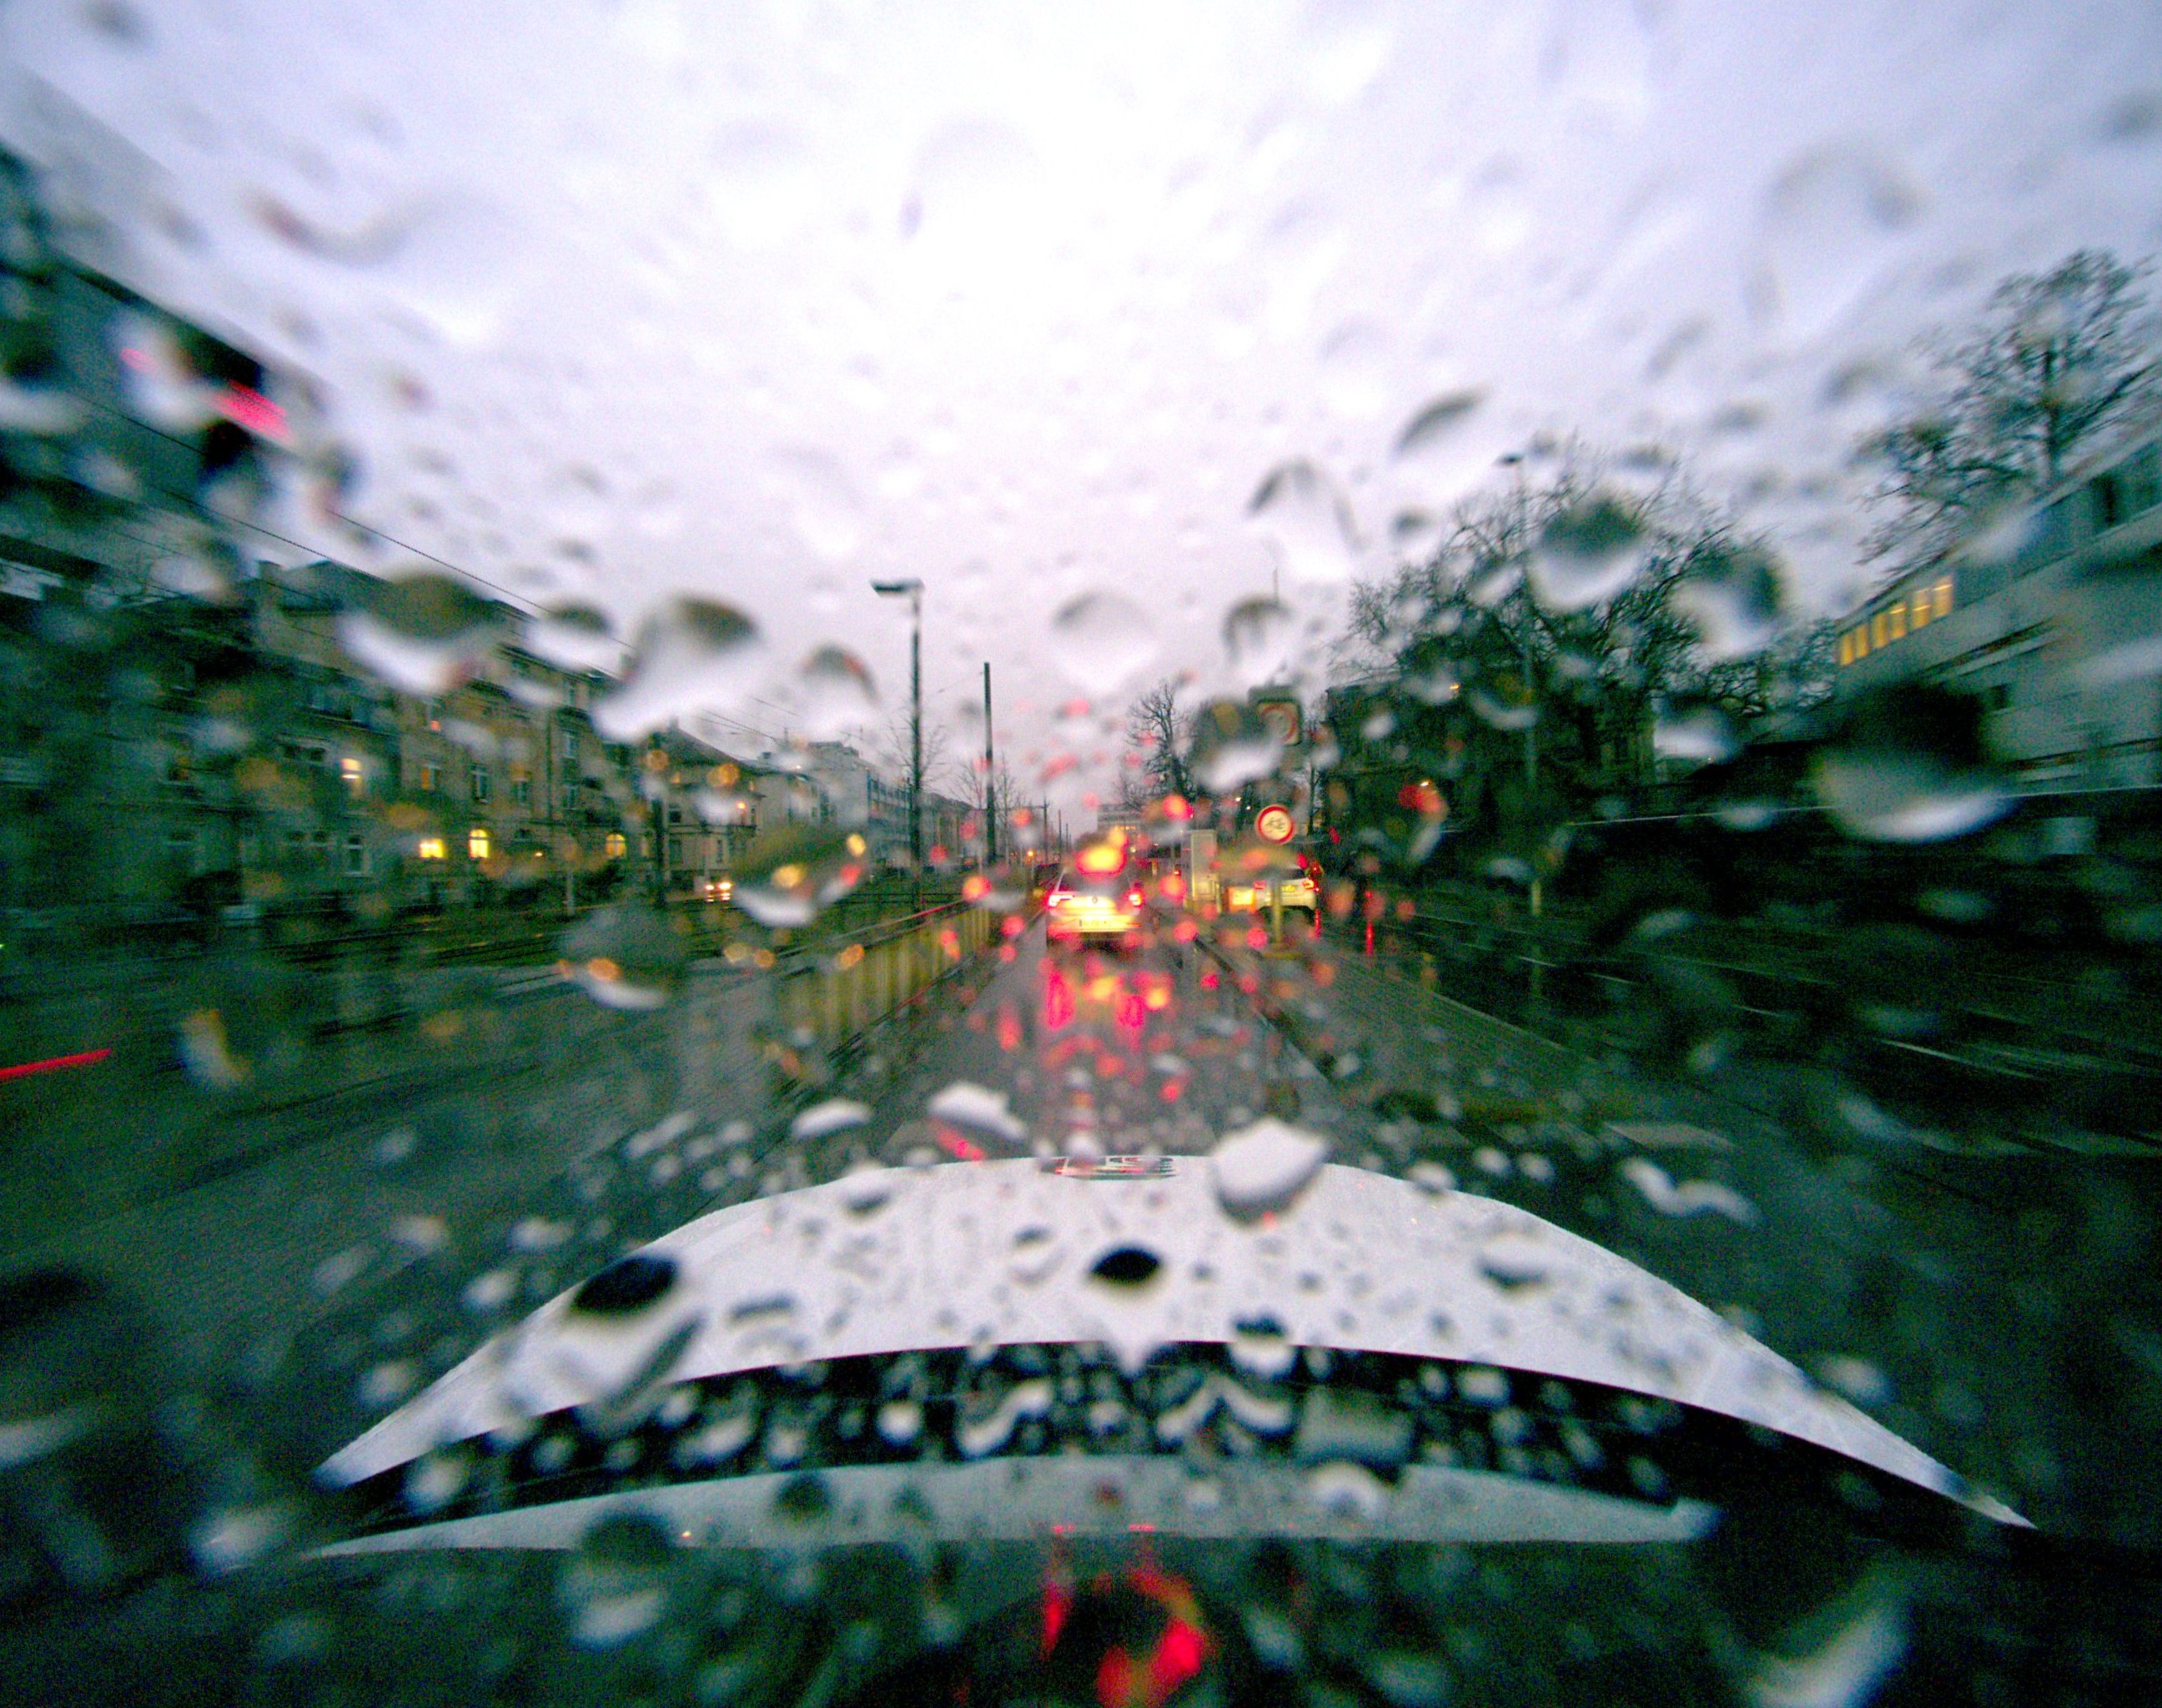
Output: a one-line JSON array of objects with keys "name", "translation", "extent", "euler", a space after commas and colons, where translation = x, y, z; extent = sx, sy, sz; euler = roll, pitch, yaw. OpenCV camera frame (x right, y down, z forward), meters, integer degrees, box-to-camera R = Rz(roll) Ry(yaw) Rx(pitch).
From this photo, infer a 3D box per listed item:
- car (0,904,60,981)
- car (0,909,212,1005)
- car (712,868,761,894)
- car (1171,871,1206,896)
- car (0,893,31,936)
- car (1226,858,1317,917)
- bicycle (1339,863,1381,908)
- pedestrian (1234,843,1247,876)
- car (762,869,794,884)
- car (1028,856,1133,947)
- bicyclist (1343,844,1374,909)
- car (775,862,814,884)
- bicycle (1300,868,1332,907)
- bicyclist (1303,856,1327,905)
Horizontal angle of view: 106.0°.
[{"name": "car", "translation": [-23.868, 1.880, 16.276], "extent": [1.795, 1.585, 3.999], "euler": [0, -1, 0]}, {"name": "car", "translation": [-20.746, 2.011, 16.553], "extent": [1.795, 1.585, 3.999], "euler": [0, -1, 0]}, {"name": "car", "translation": [-25.726, 1.987, 60.935], "extent": [1.988, 1.692, 4.108], "euler": [-2, 0, -2]}, {"name": "car", "translation": [6.051, 1.636, 46.197], "extent": [1.617, 1.299, 4.001], "euler": [0, -1, 2]}, {"name": "car", "translation": [-38.255, 2.108, 27.161], "extent": [3.975, 1.406, 1.832], "euler": [-2, 0, -1]}, {"name": "car", "translation": [5.145, 0.874, 22.493], "extent": [1.716, 1.479, 4.001], "euler": [0, -1, 2]}, {"name": "bicycle", "translation": [7.723, 0.848, 22.638], "extent": [0.410, 1.185, 2.028], "euler": [-2, 0, -1]}, {"name": "pedestrian", "translation": [9.461, 0.328, 48.338], "extent": [0.530, 1.880, 0.900], "euler": [-2, 0, -1]}, {"name": "car", "translation": [-31.156, 2.312, 83.842], "extent": [1.801, 1.436, 3.924], "euler": [-2, 0, -2]}, {"name": "car", "translation": [0.061, 0.827, 15.352], "extent": [1.716, 1.479, 4.001], "euler": [0, -1, 2]}, {"name": "bicyclist", "translation": [7.734, 0.604, 22.723], "extent": [0.498, 1.767, 0.836], "euler": [-2, 0, -2]}, {"name": "car", "translation": [-27.093, 1.757, 77.155], "extent": [1.988, 1.933, 4.908], "euler": [-2, 0, -2]}, {"name": "bicycle", "translation": [7.743, 1.085, 26.853], "extent": [0.410, 1.185, 1.947], "euler": [-2, 0, -1]}, {"name": "bicyclist", "translation": [7.732, 0.875, 26.950], "extent": [0.498, 1.591, 0.836], "euler": [-2, 0, -2]}]
